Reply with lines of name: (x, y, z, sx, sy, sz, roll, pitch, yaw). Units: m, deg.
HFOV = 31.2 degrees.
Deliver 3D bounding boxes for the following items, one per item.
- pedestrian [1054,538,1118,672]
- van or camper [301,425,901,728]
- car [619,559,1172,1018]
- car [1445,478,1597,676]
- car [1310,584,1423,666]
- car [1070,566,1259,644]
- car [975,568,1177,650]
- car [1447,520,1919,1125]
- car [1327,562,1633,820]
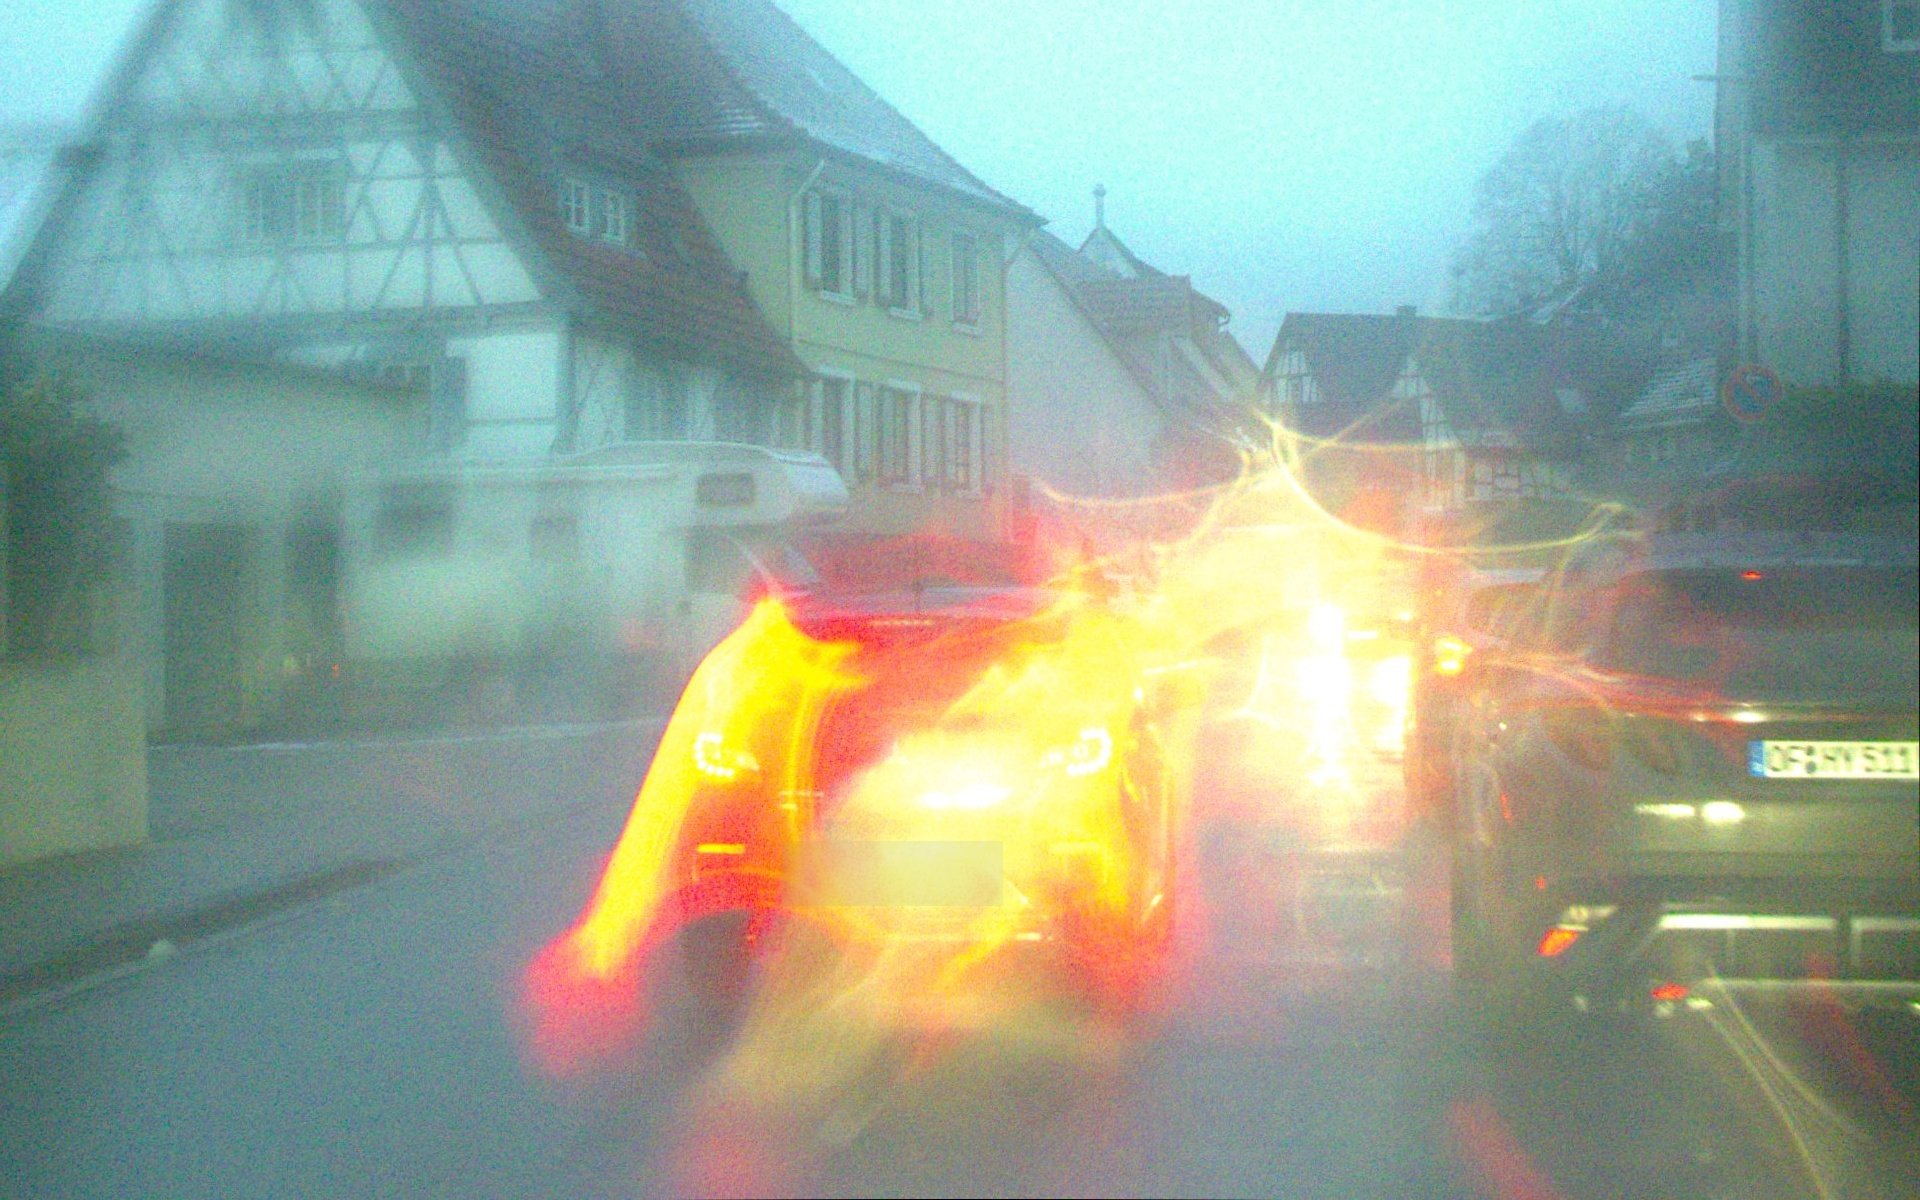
pedestrian: (1.905, 0.069, 51.815, 0.874, 2.007, 0.794, 0, 0, 8)
van or camper: (-3.966, -0.239, 38.343, 6.064, 2.945, 2.405, -3, 0, 13)
car: (-0.130, 0.599, 13.268, 1.795, 1.471, 4.000, 1, 1, 2)
car: (7.126, -0.294, 43.668, 1.815, 2.405, 3.750, 0, 0, 9)
car: (7.396, 0.426, 62.275, 1.869, 1.397, 4.364, 0, 0, 9)
car: (3.996, 0.087, 66.842, 3.509, 1.502, 1.691, 0, 0, 9)
car: (2.188, 0.150, 64.545, 3.510, 1.502, 1.691, 0, 0, 15)
car: (2.651, 0.599, 11.513, 1.848, 1.631, 4.335, 1, 0, 6)
car: (3.383, 0.527, 22.477, 1.799, 1.529, 3.999, 0, 0, 8)
